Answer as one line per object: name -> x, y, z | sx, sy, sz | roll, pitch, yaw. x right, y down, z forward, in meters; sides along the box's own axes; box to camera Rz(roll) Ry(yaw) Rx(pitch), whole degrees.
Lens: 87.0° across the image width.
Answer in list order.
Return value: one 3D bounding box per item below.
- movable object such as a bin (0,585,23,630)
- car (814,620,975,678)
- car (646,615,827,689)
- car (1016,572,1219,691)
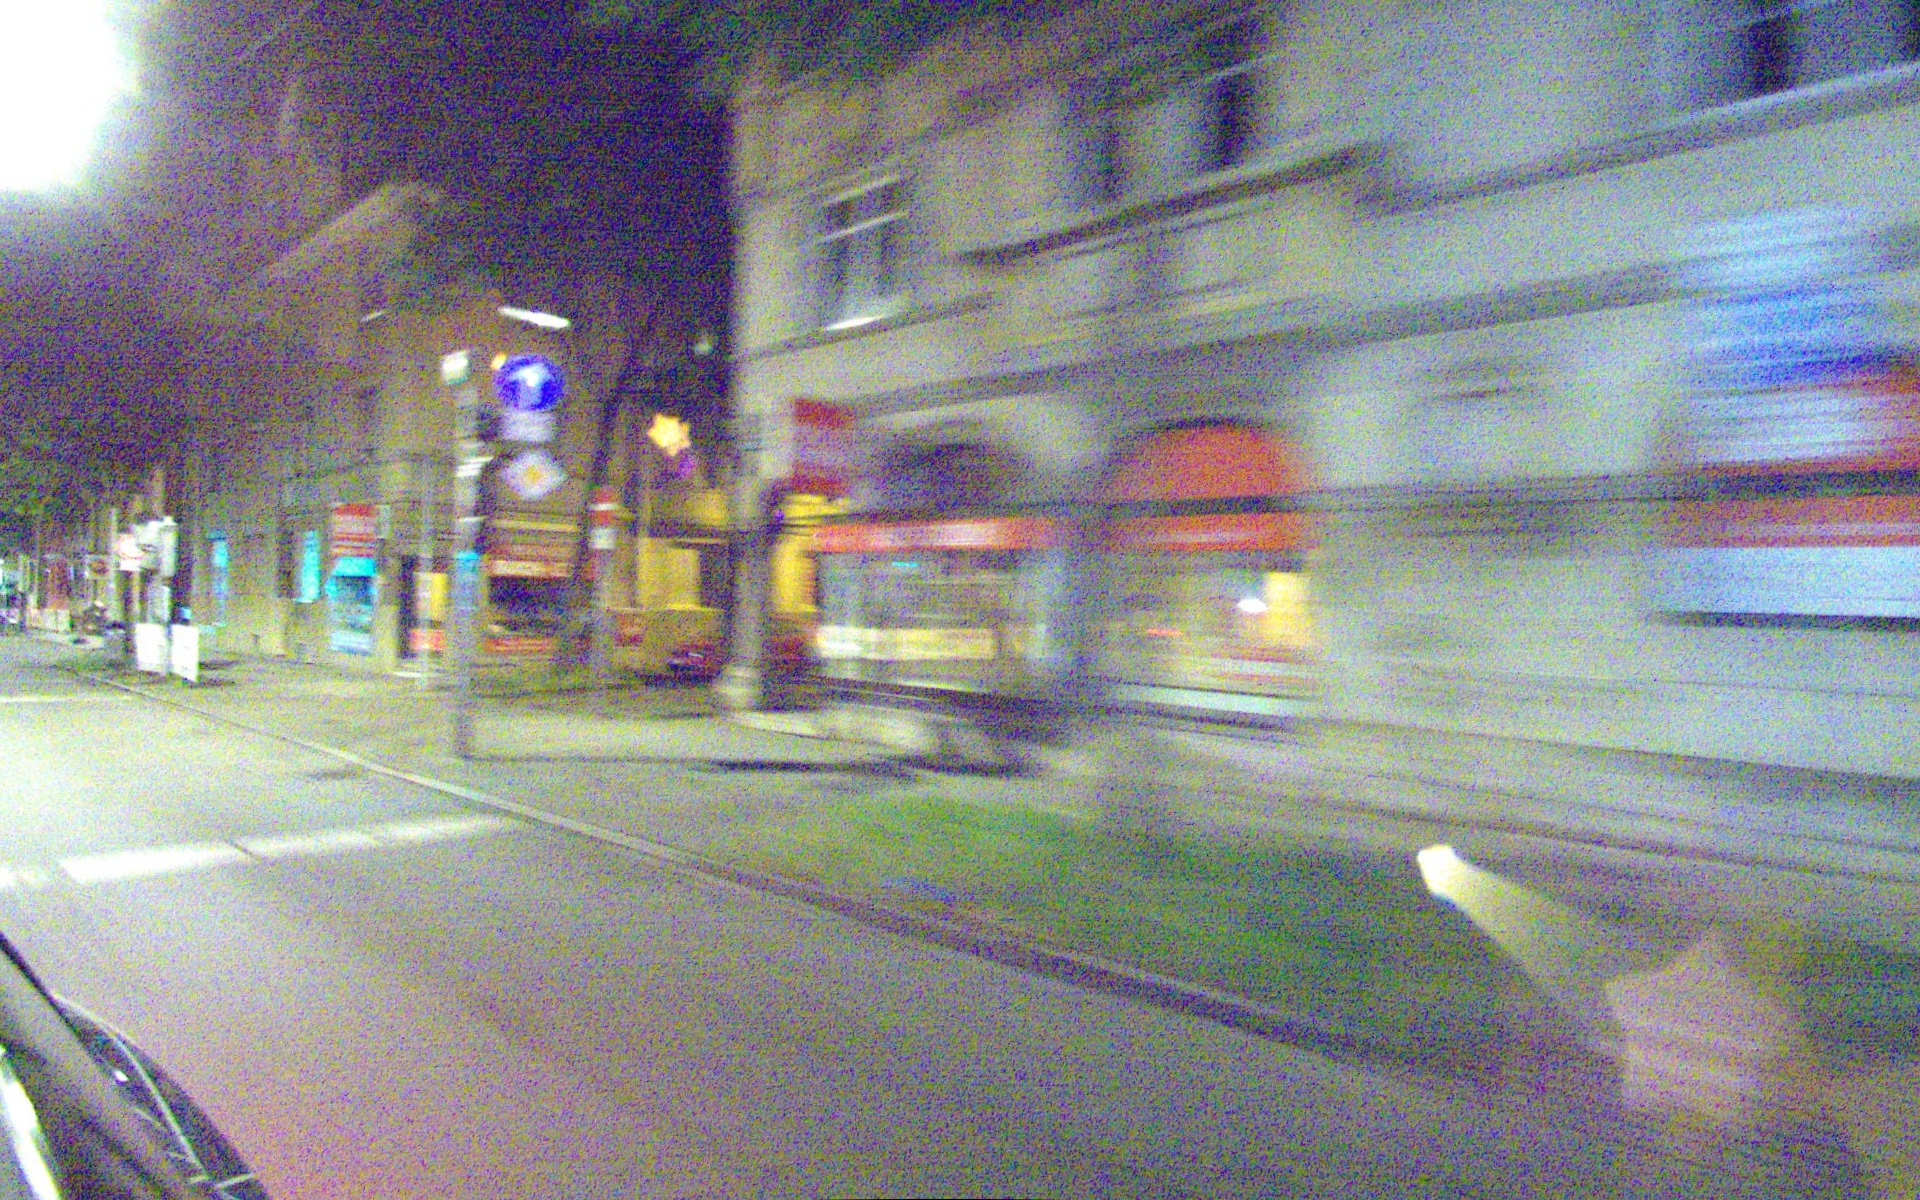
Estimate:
movable object such as a bin -> -58.217, 0.438, 61.472 | 3.910, 2.646, 1.554 | 0, -2, 43
car -> -1.684, 1.268, 27.170 | 1.872, 1.397, 4.183 | -1, -2, 42
car -> -5.132, 1.149, 23.561 | 1.872, 1.567, 3.708 | -1, -2, 42
car -> 4.074, 0.695, 25.259 | 2.246, 2.563, 5.785 | 3, 2, 40
